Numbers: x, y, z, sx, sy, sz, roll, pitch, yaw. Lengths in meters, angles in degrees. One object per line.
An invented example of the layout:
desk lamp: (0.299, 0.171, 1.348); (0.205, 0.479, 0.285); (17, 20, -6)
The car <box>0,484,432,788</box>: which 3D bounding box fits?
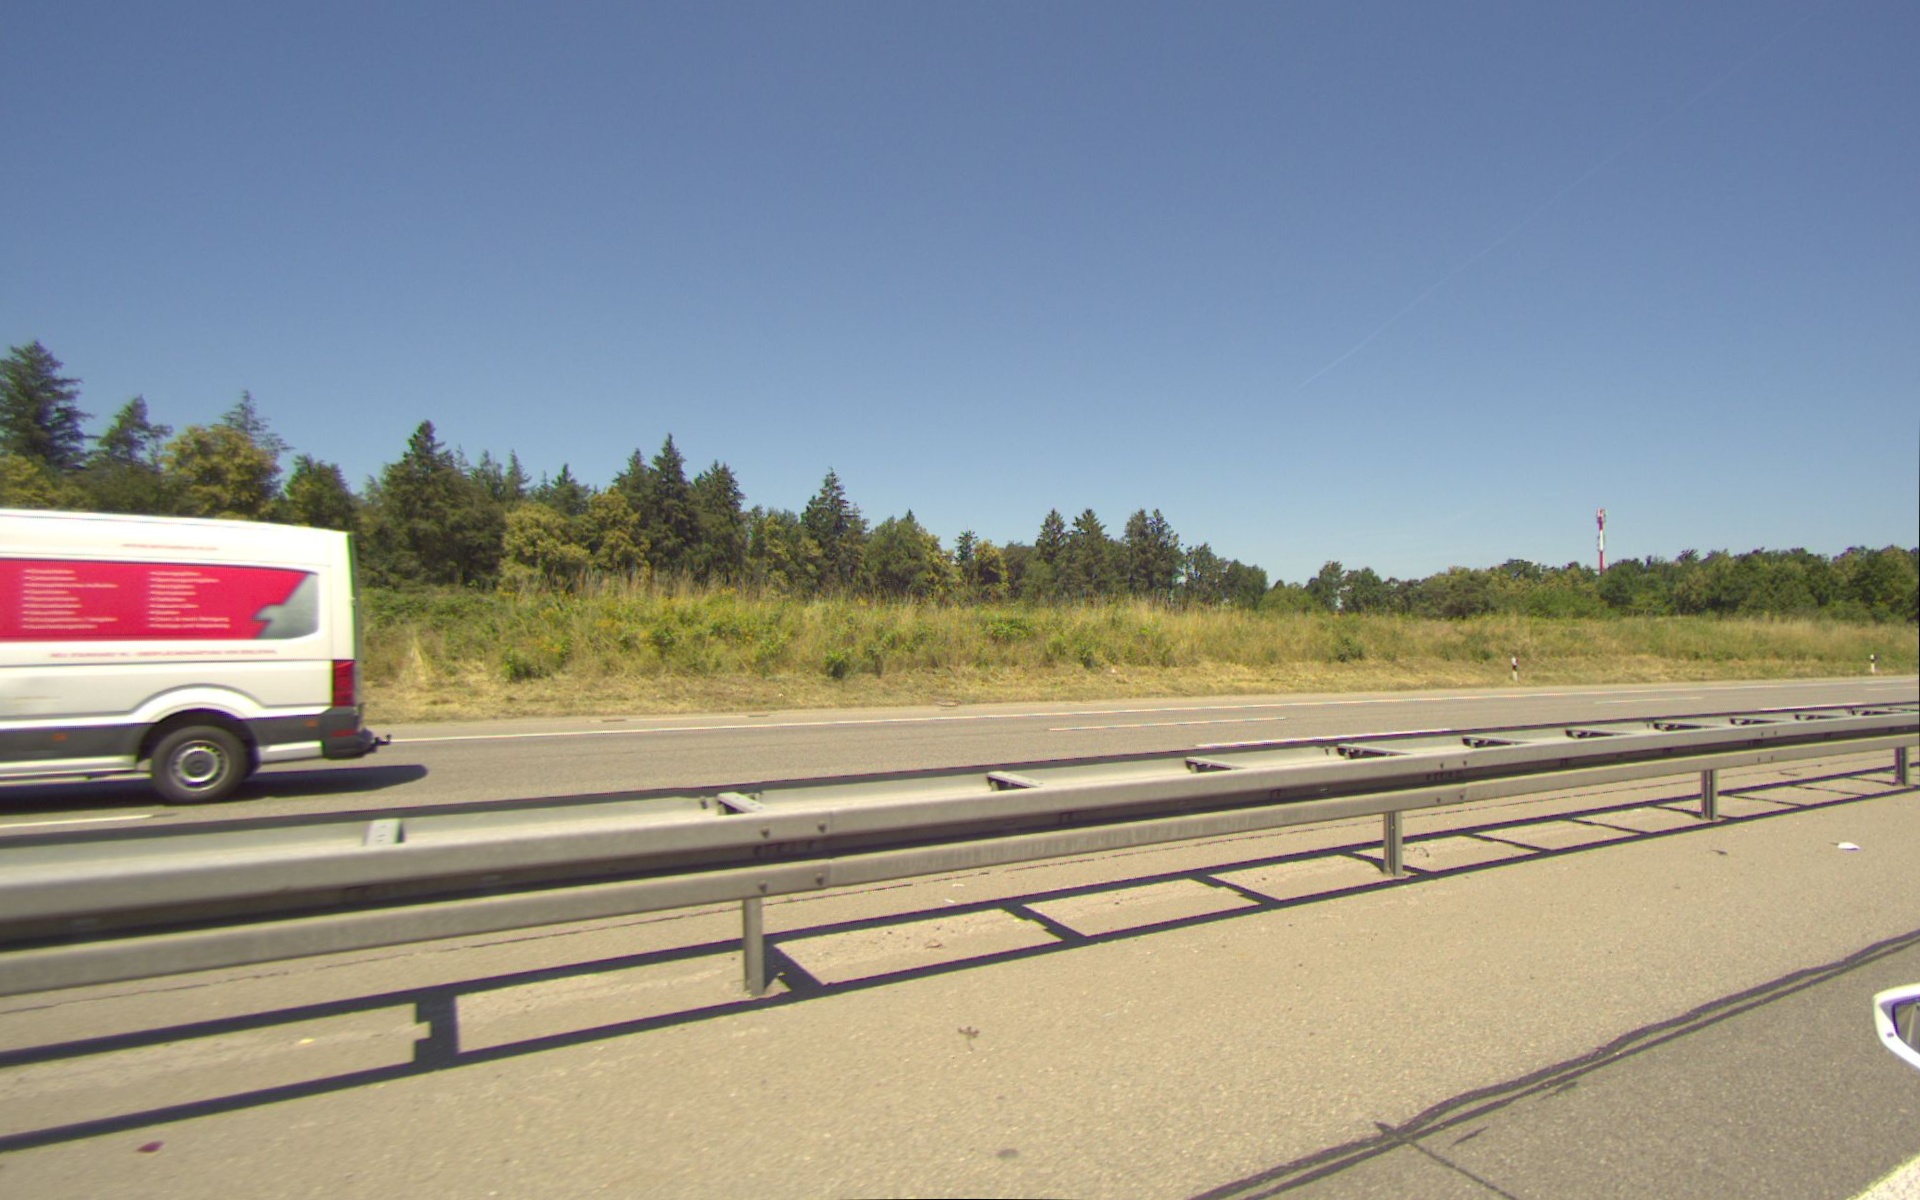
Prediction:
car: (-8.778, 0.341, 9.007); (7.050, 2.480, 2.353); (2, -4, -31)
